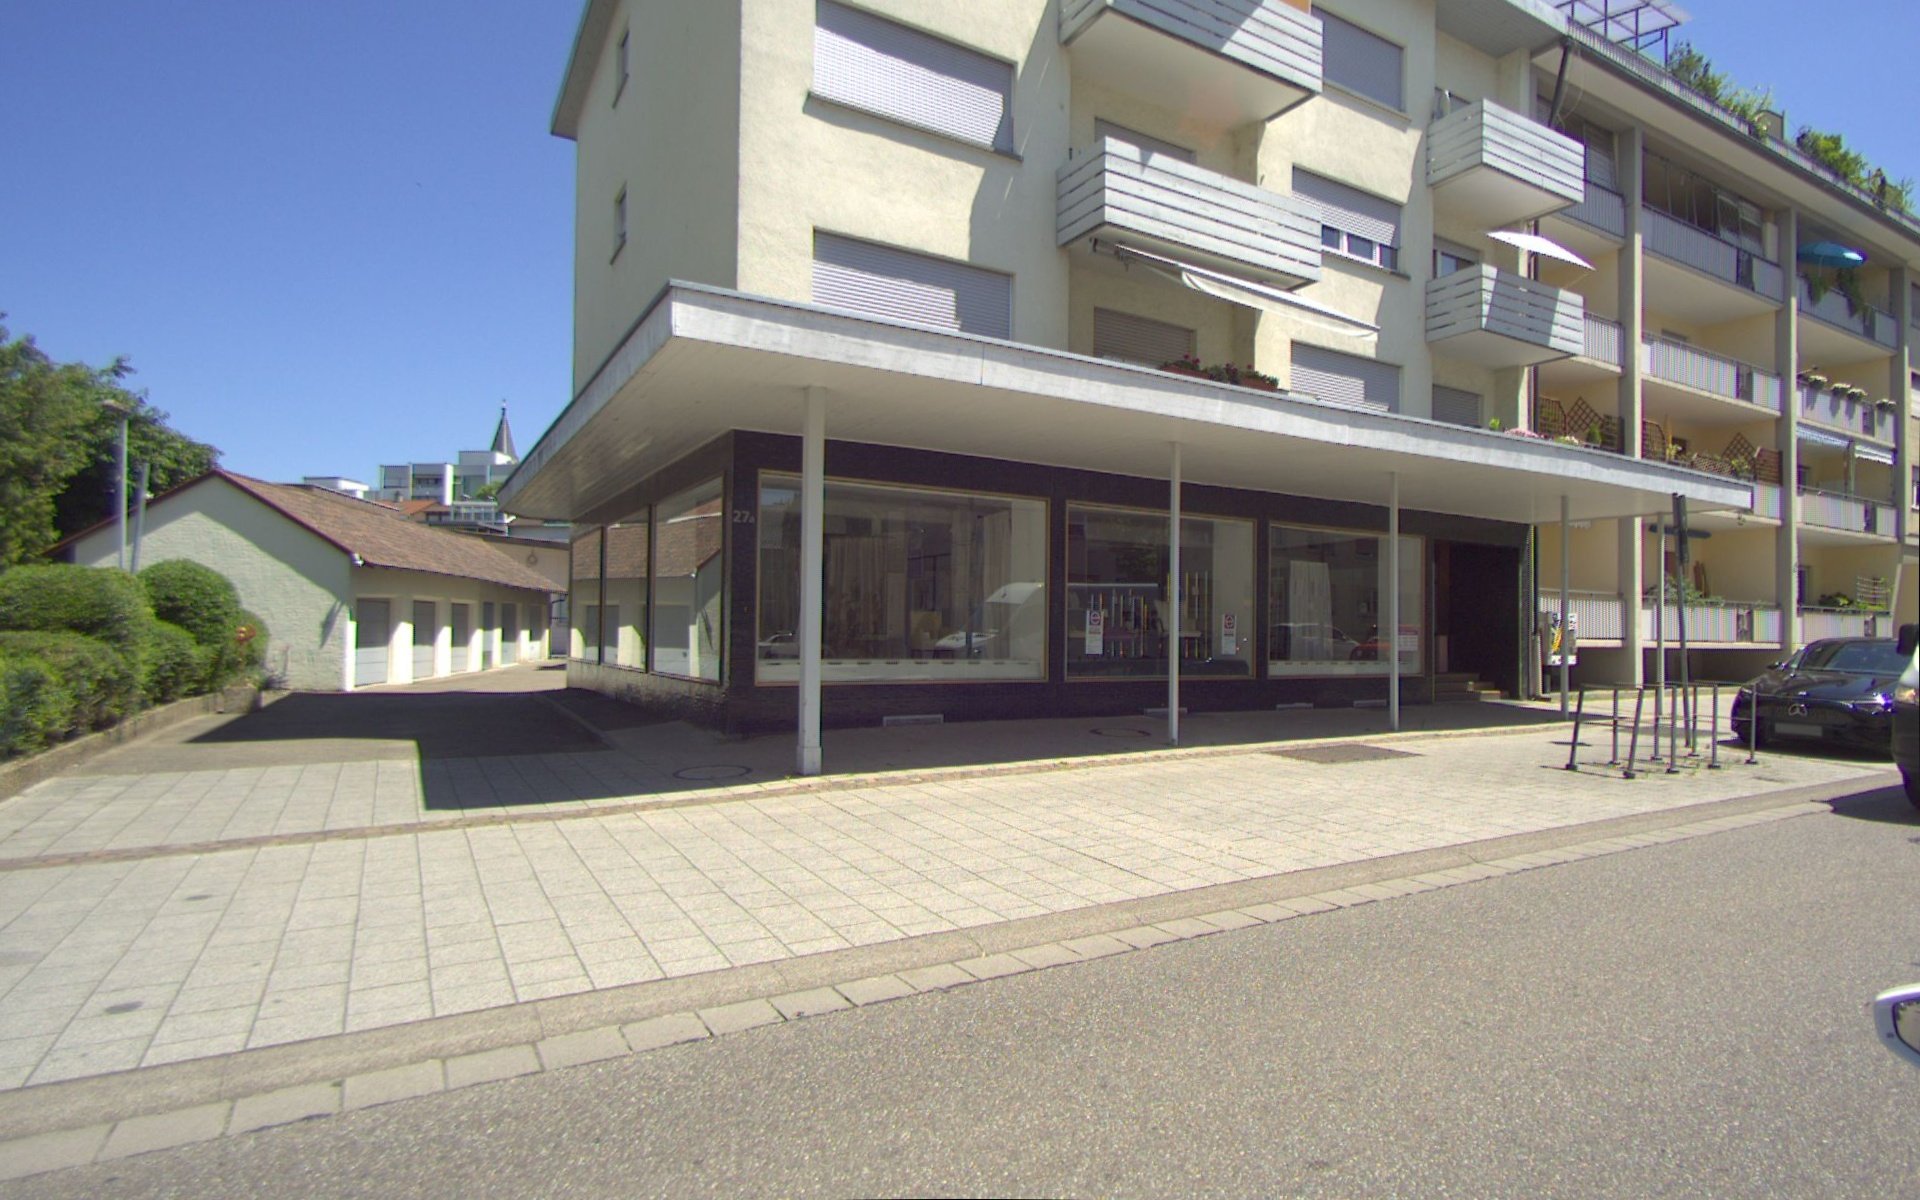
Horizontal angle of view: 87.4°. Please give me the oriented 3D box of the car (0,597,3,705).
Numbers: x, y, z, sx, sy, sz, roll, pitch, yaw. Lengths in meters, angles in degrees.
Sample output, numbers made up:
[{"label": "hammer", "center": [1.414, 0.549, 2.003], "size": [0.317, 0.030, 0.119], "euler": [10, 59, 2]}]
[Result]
[{"label": "car", "center": [-11.289, 0.668, 8.683], "size": [1.863, 1.506, 3.989], "euler": [0, -2, 29]}]

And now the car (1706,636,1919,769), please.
[{"label": "car", "center": [12.434, 1.263, 13.683], "size": [4.990, 1.436, 1.886], "euler": [1, 0, -31]}]

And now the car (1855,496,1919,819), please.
[{"label": "car", "center": [11.241, 0.506, 9.539], "size": [7.025, 2.664, 2.027], "euler": [1, -3, -31]}]

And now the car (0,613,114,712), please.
[{"label": "car", "center": [-15.301, 0.937, 14.789], "size": [1.746, 1.453, 4.025], "euler": [-2, -3, 34]}]

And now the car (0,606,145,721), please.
[{"label": "car", "center": [-13.383, 0.834, 13.227], "size": [1.726, 1.481, 3.908], "euler": [-2, -3, 42]}]
